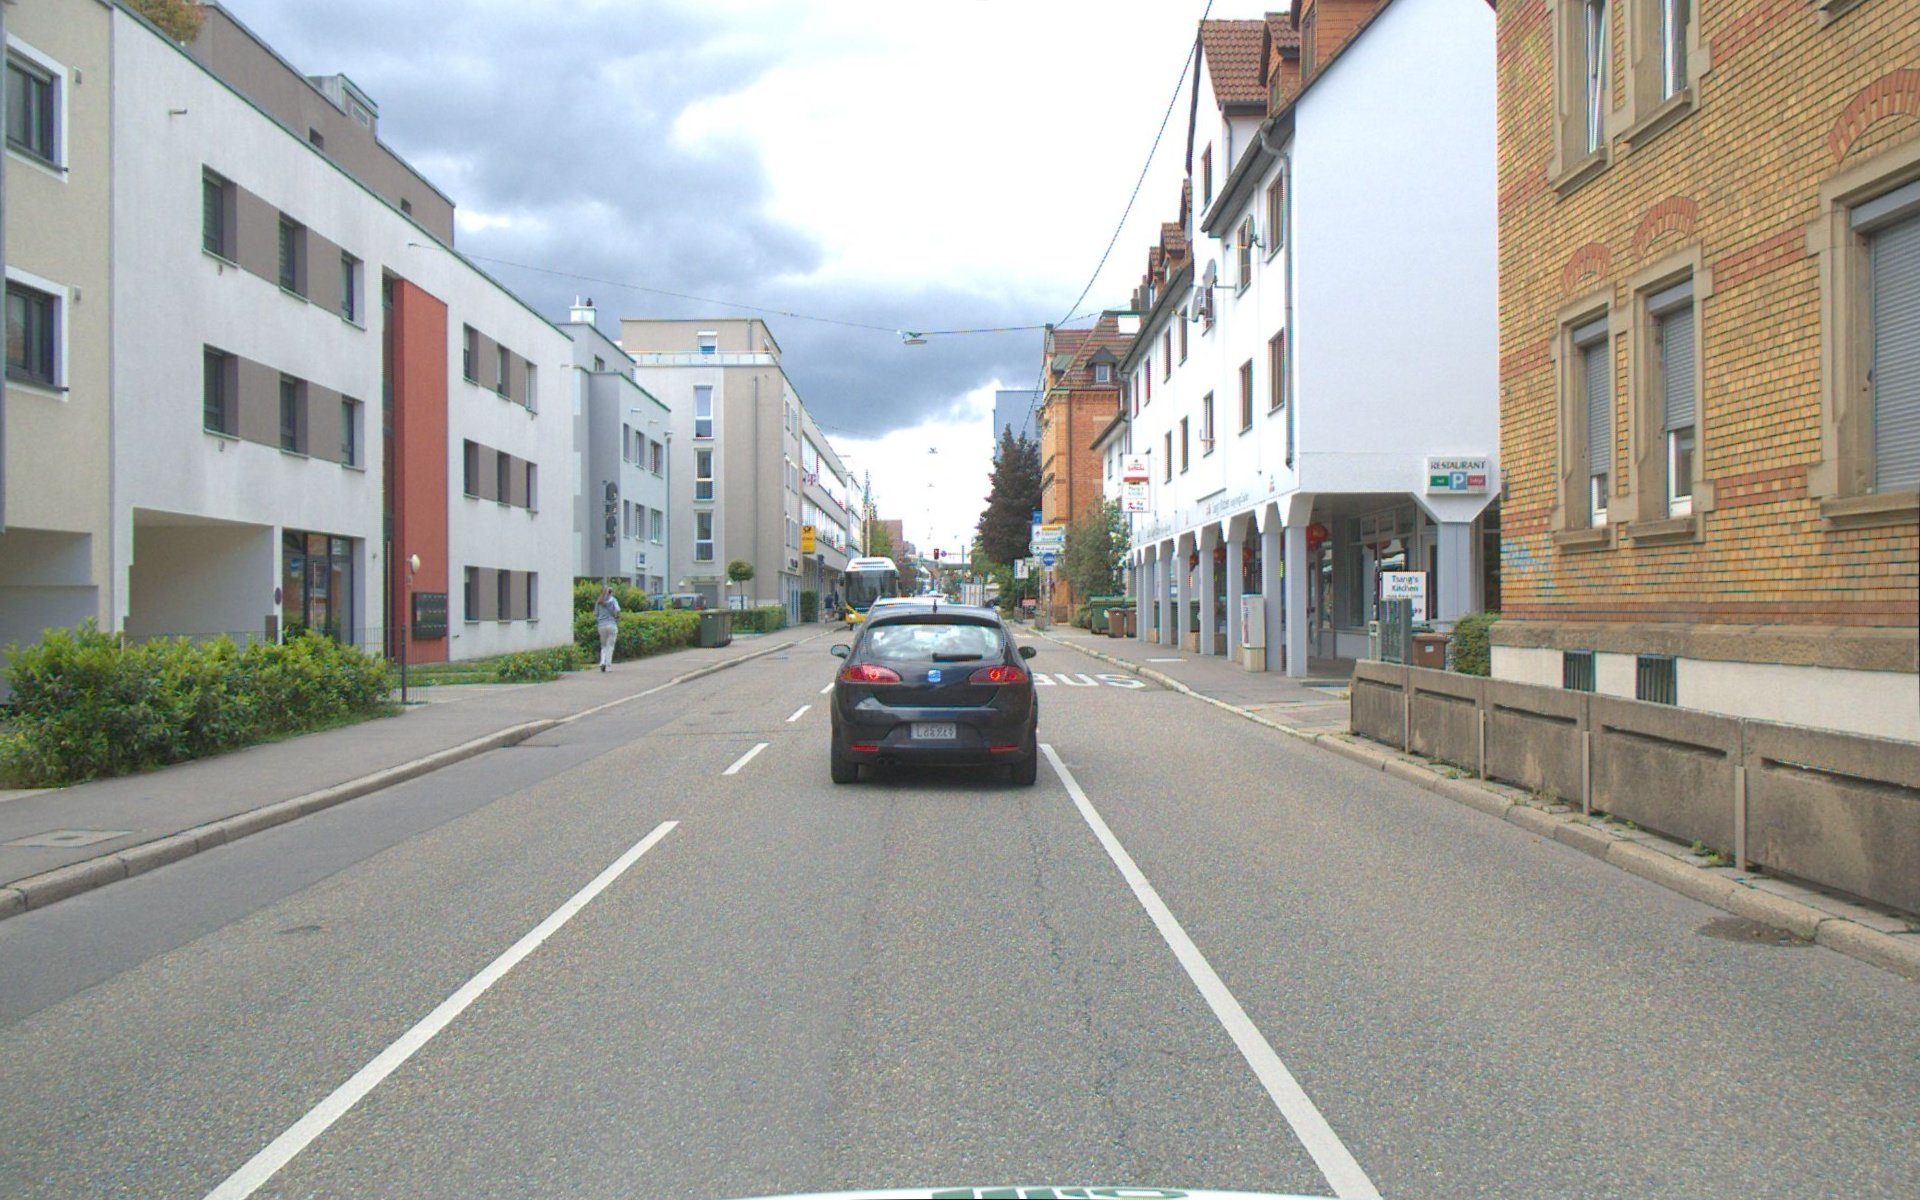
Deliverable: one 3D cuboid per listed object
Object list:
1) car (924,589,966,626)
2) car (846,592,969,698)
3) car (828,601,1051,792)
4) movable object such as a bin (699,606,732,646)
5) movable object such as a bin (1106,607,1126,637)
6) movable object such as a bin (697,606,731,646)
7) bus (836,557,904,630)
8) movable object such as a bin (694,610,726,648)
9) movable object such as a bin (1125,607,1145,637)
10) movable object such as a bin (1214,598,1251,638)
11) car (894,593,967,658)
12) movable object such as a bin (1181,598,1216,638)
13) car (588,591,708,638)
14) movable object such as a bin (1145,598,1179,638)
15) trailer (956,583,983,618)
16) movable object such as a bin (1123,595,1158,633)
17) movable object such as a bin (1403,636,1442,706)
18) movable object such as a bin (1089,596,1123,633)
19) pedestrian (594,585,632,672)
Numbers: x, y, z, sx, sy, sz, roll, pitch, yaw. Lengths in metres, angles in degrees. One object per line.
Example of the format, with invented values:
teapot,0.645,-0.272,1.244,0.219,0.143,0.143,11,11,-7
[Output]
car,-0.670,0.311,72.236,1.767,1.580,3.736,0,0,-1
car,-0.797,0.646,25.769,1.767,1.519,3.736,0,0,-1
car,-0.177,0.749,14.742,1.729,1.458,3.828,0,0,-1
movable object such as a bin,-7.334,0.773,49.701,0.930,1.171,0.748,0,0,-5
movable object such as a bin,5.721,0.809,60.748,0.669,1.086,0.972,0,0,3
movable object such as a bin,-7.275,0.771,48.869,0.937,1.171,0.839,0,0,-5
bus,-4.411,-0.348,83.596,2.883,3.331,12.005,-2,0,-1
movable object such as a bin,-7.246,0.836,47.943,0.877,1.108,0.792,0,0,-5
movable object such as a bin,6.436,0.806,60.732,0.683,1.098,0.972,0,0,3
movable object such as a bin,9.936,0.645,60.356,1.184,1.442,1.260,0,0,3
car,-0.759,0.617,42.097,1.767,1.580,3.736,0,0,-1
movable object such as a bin,8.705,0.645,60.397,1.184,1.442,1.260,0,0,3
car,-11.558,0.531,61.391,4.076,1.697,1.725,-1,-1,3
movable object such as a bin,7.370,0.648,60.396,1.184,1.442,1.260,0,0,3
trailer,0.700,0.047,128.765,1.953,2.653,5.347,0,0,-1
movable object such as a bin,7.035,0.528,64.473,1.241,1.460,1.307,0,0,0
movable object such as a bin,6.250,0.955,22.359,0.389,0.919,0.456,0,0,-1
movable object such as a bin,5.706,0.553,64.671,1.241,1.442,1.162,0,0,0
pedestrian,-6.699,0.547,31.907,0.625,1.671,0.520,0,0,-1
